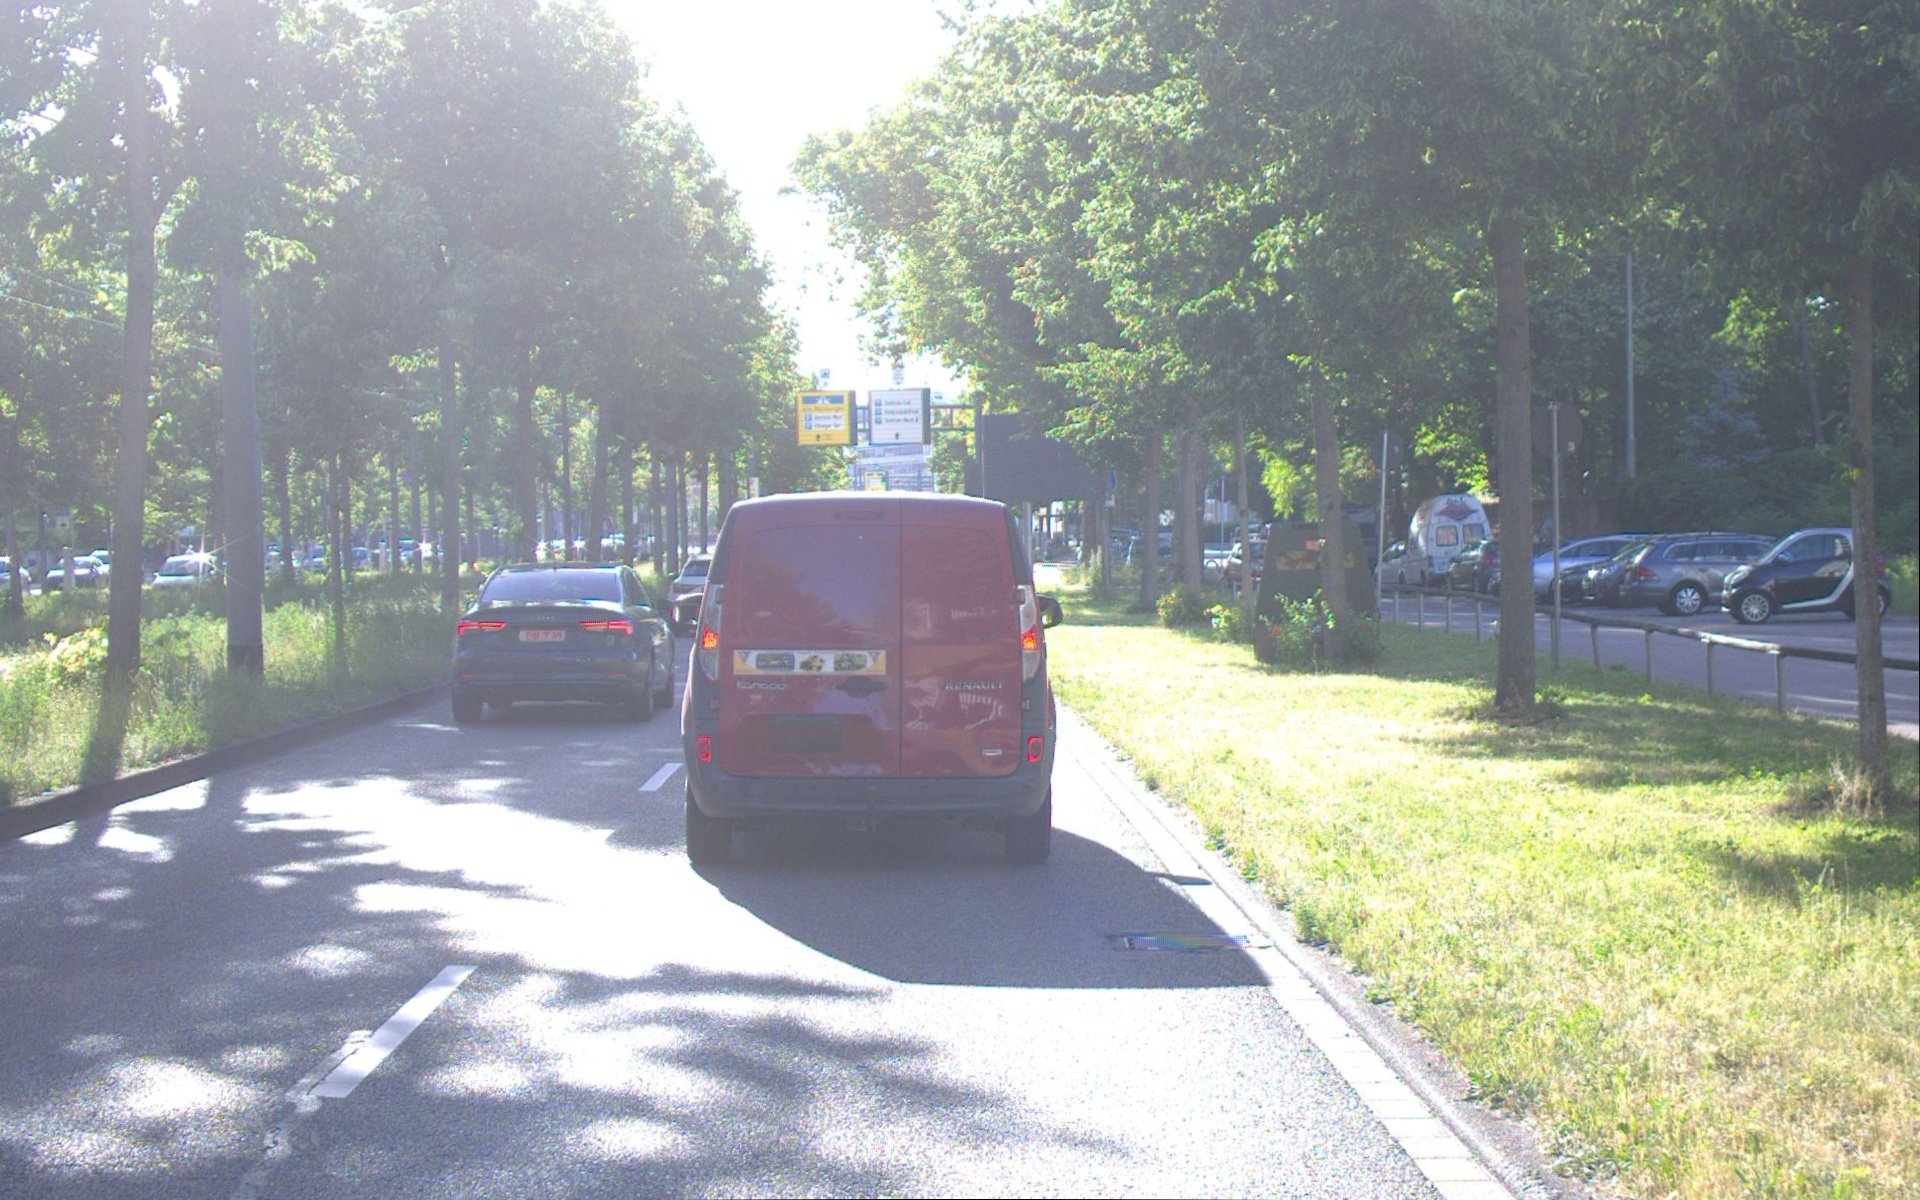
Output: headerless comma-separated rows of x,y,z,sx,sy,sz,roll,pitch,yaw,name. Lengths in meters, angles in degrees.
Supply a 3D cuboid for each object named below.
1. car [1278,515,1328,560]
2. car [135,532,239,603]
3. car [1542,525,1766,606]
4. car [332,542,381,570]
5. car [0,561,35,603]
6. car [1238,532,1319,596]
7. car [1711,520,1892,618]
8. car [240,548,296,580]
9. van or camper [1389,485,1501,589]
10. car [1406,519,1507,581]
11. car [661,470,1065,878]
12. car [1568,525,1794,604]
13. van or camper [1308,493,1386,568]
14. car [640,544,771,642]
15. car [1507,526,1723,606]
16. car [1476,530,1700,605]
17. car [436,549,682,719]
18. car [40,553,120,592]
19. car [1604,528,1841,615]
15.287,-2.787,153.426,2.087,2.007,4.942,0,1,4,car
-22.545,-0.943,100.447,1.993,2.007,4.000,1,1,2,car
14.910,-0.748,73.985,4.327,1.473,1.907,-3,2,-4,car
-34.893,-2.550,198.838,1.993,1.603,4.611,1,1,0,car
-33.912,-0.649,120.448,1.993,1.436,4.457,1,1,-3,car
8.508,-0.958,91.538,1.994,1.634,3.999,1,1,7,car
14.054,-0.519,57.517,2.767,1.544,1.461,-2,0,9,car
-35.503,-1.851,176.477,1.879,1.615,4.611,1,1,0,car
13.518,-1.750,96.084,1.993,2.722,4.965,-3,1,-4,van or camper
13.022,-1.310,90.374,1.993,1.568,4.000,1,1,-1,car
-0.561,0.317,17.622,1.808,1.831,4.001,1,1,-4,car
14.768,-0.732,70.556,4.190,1.493,1.782,-2,1,-3,car
14.775,-2.694,131.603,2.557,2.675,6.564,-3,1,4,van or camper
-4.381,-0.146,59.636,1.993,1.612,4.000,1,1,0,car
14.557,-0.771,76.596,4.381,1.406,2.000,-5,1,2,car
14.499,-0.768,79.556,4.719,1.401,2.000,-4,1,0,car
-3.582,0.268,31.336,1.792,1.423,4.000,1,1,0,car
-33.646,-1.064,131.531,1.958,1.436,4.266,1,1,0,car
14.434,-0.541,65.211,4.080,1.463,1.715,-2,1,1,car
